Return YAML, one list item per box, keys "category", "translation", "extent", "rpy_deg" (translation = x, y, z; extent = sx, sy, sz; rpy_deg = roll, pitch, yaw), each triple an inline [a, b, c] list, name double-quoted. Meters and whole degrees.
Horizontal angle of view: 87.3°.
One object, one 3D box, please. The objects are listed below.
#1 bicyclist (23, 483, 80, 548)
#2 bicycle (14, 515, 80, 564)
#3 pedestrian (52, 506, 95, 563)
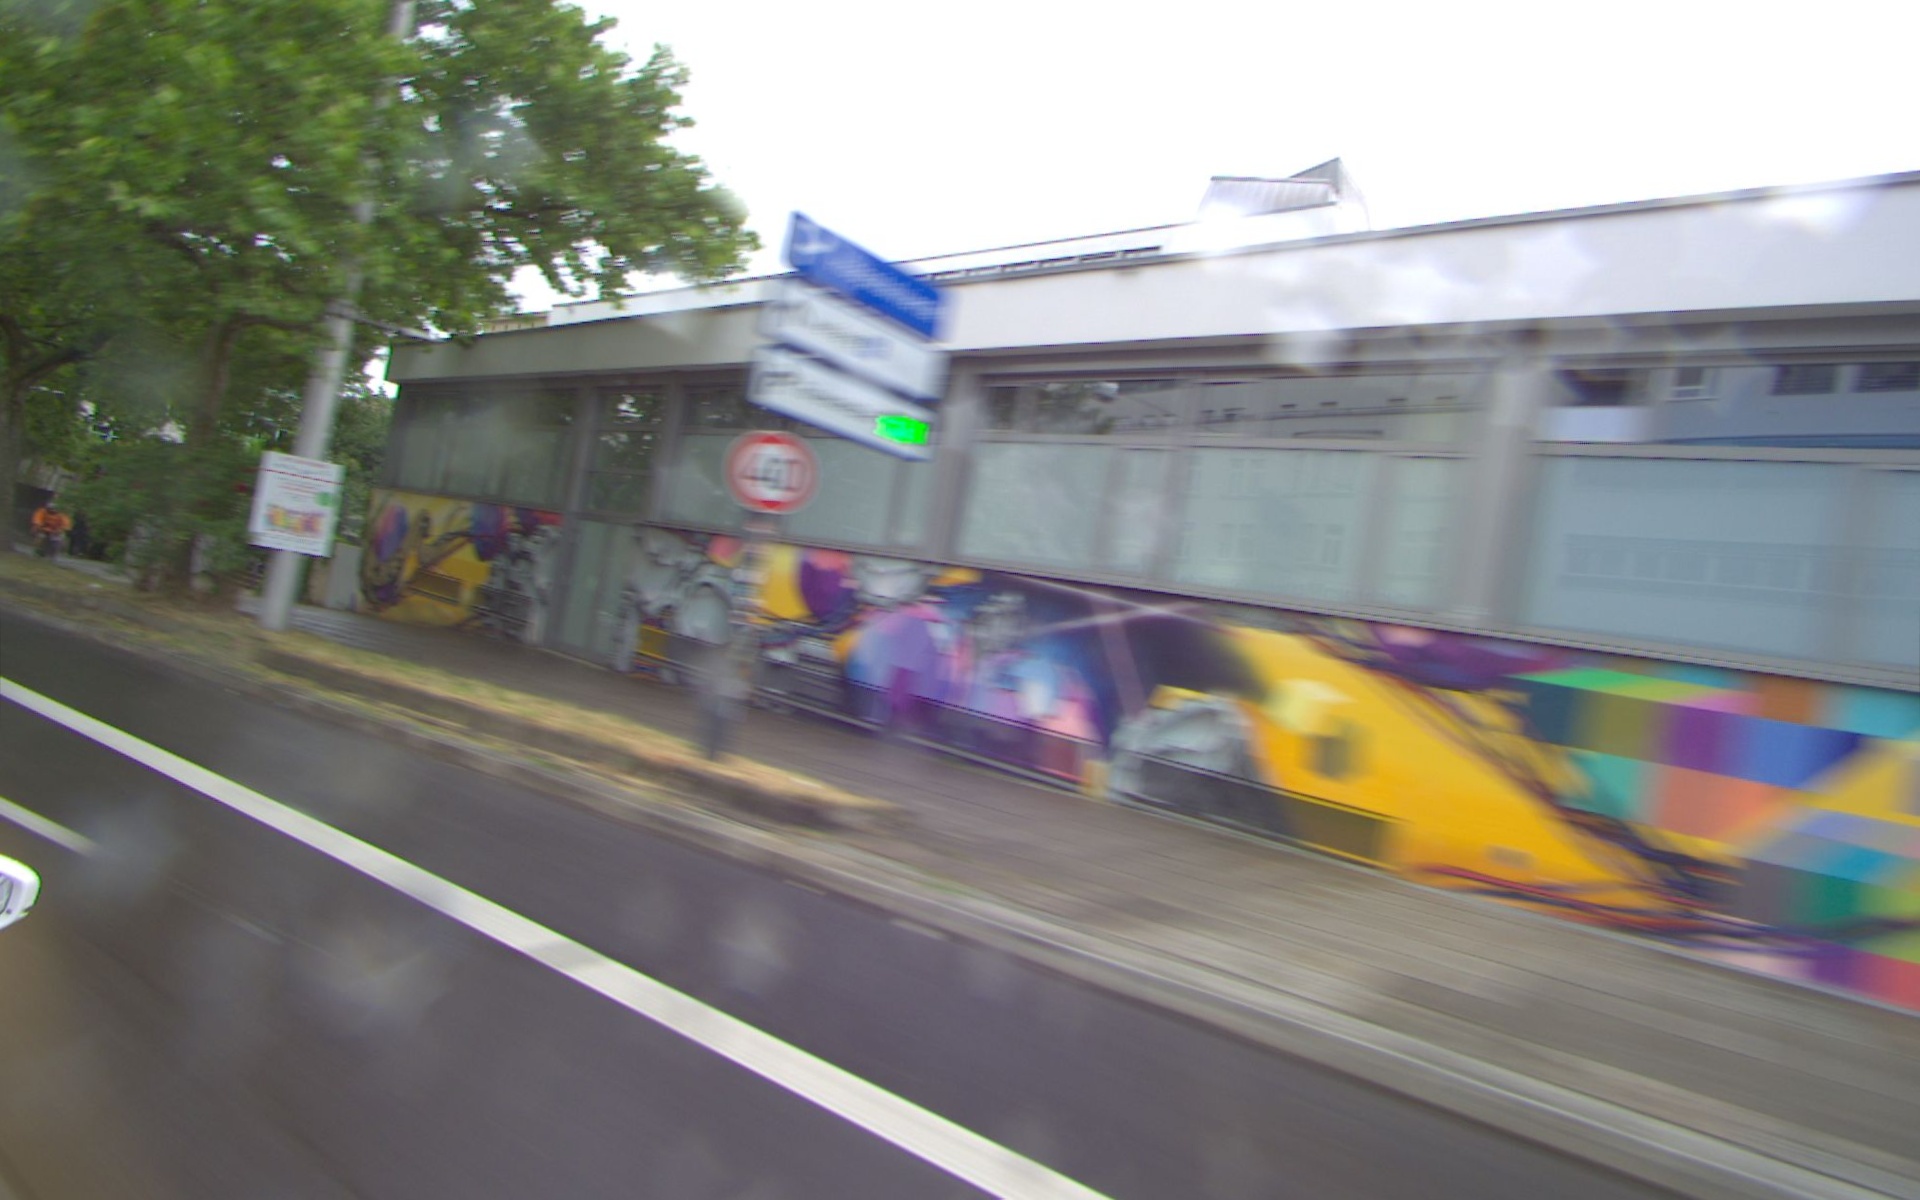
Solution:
- category: "bicyclist"
  translation: [-25.423, -2.358, 28.153]
  extent: [1.030, 1.646, 0.808]
  rpy_deg: [7, -2, 35]
- category: "bicycle"
  translation: [-25.603, -1.712, 28.200]
  extent: [2.164, 1.124, 0.808]
  rpy_deg: [6, -2, 36]
- category: "pedestrian"
  translation: [-32.218, -2.389, 36.573]
  extent: [1.040, 1.886, 0.807]
  rpy_deg: [7, -1, 38]
